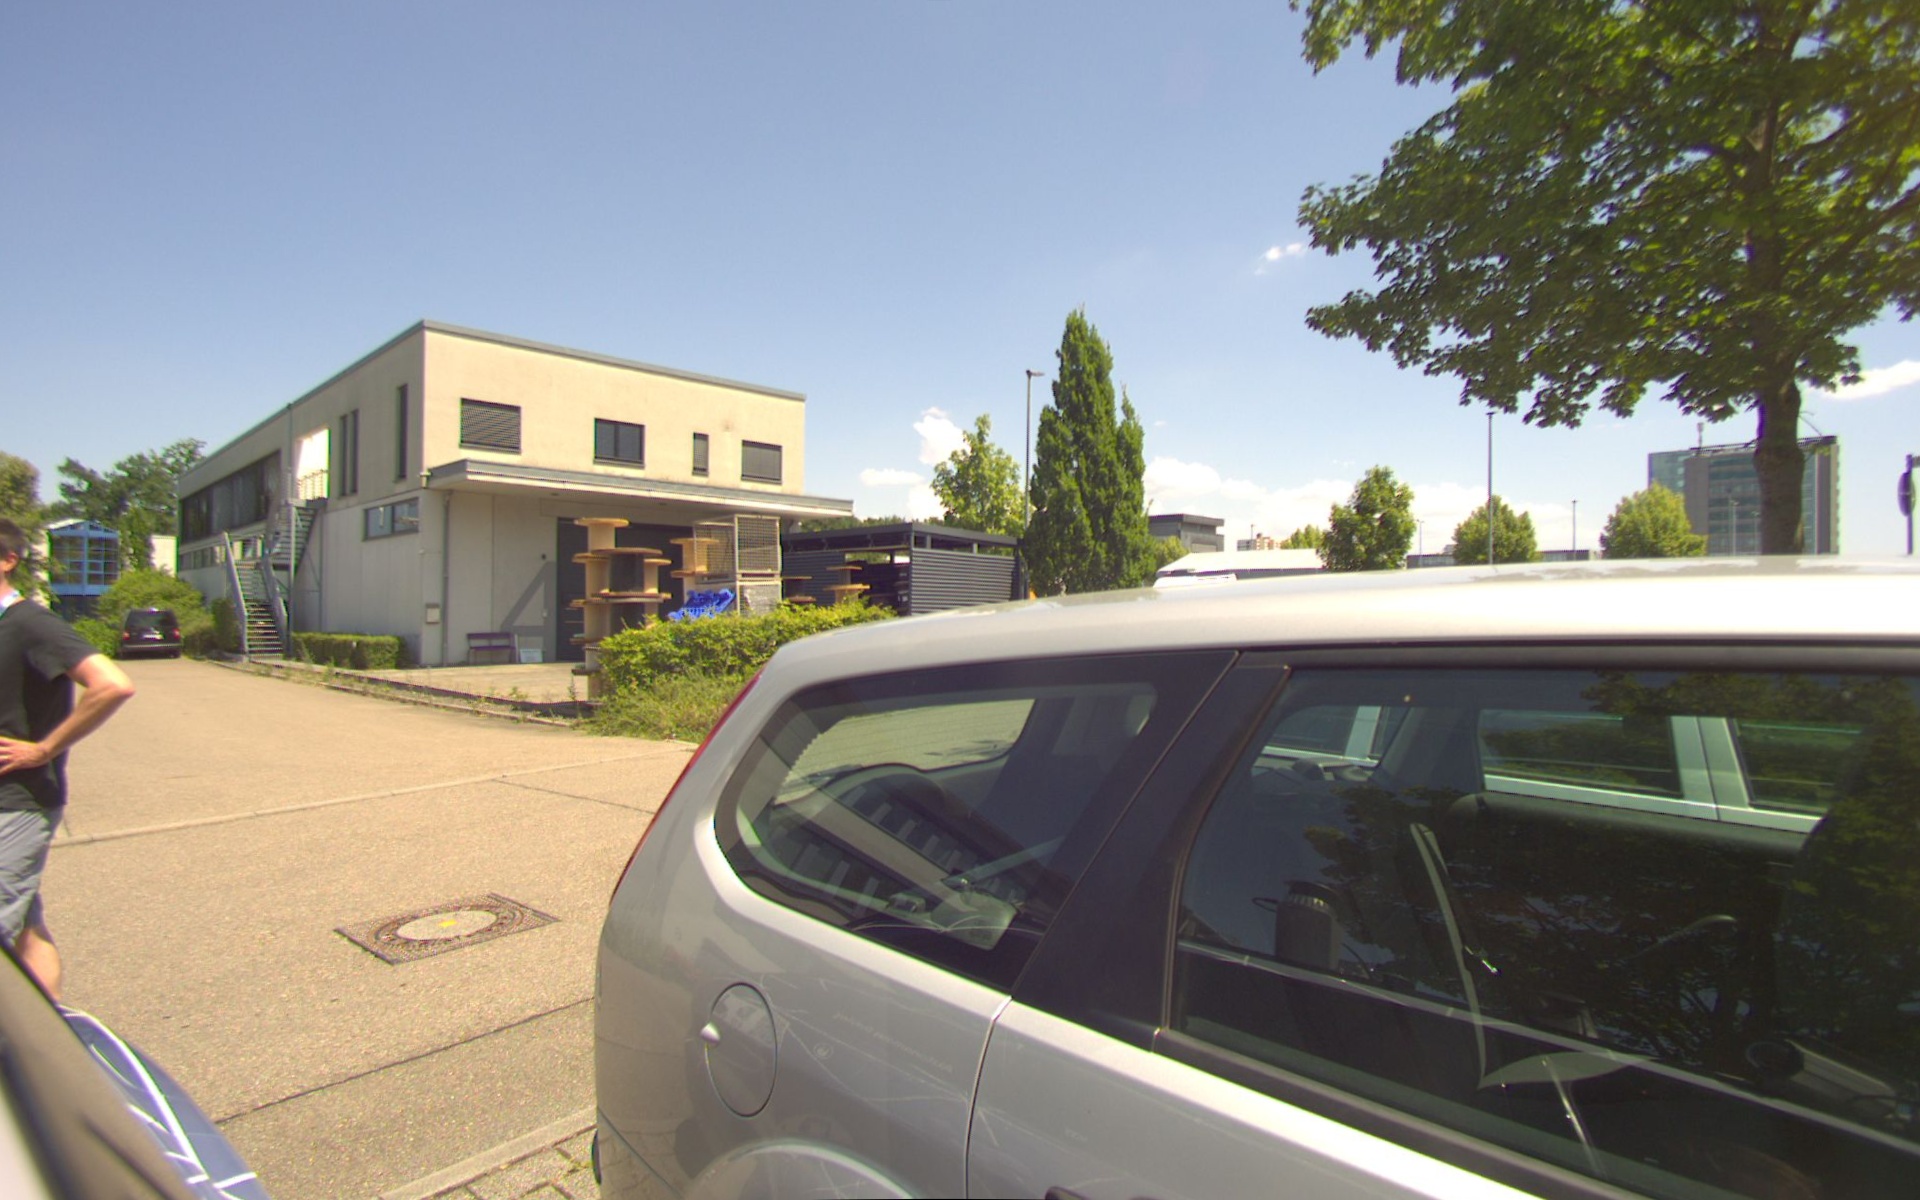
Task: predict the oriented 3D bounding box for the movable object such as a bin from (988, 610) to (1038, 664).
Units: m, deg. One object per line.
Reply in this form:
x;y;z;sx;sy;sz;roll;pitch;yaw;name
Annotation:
1.364;0.931;26.069;1.056;1.346;0.761;-1;-1;-40;movable object such as a bin

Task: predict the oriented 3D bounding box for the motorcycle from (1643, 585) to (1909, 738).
8.039;0.587;10.082;1.986;1.400;0.478;-2;-1;38;motorcycle

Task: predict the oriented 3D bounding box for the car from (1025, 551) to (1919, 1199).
2.271;0.641;3.120;3.886;1.490;1.632;-1;-1;38;car

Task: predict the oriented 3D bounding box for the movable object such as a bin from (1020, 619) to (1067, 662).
2.217;1.047;26.749;0.972;1.092;0.761;-1;-1;-40;movable object such as a bin

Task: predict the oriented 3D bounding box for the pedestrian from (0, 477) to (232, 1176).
-2.935;0.602;3.025;0.849;1.834;0.904;-1;-1;3;pedestrian

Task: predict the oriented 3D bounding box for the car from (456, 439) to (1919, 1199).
1.320;0.646;0.999;4.346;1.490;1.702;-1;-1;41;car

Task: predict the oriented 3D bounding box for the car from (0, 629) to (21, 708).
-19.066;1.271;19.209;1.686;1.402;3.816;1;-1;-41;car

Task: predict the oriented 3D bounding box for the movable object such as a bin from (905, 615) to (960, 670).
-0.655;1.010;24.347;1.056;1.280;0.761;-1;-1;-40;movable object such as a bin

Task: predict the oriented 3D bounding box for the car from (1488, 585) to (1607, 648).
17.415;0.454;29.930;3.936;1.751;1.776;-1;0;-39;car

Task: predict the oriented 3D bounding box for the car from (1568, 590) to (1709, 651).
18.609;0.532;27.717;3.932;1.533;1.658;-1;0;-31;car

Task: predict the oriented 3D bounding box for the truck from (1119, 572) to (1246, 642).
9.206;0.257;41.628;5.614;2.692;2.420;-1;-1;-45;truck

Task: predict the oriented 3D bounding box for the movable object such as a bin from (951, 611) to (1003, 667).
0.423;0.953;25.125;1.056;1.346;0.761;-1;-1;-40;movable object such as a bin

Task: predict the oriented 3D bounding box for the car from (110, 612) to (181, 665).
-30.044;1.379;37.294;1.761;1.817;4.004;-1;0;-43;car

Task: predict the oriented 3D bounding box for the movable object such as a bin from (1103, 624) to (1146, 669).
3.754;1.048;23.107;0.581;0.977;0.761;-1;-1;-40;movable object such as a bin

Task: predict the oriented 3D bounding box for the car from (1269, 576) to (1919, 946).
3.745;0.640;5.049;3.886;1.459;1.632;-1;-1;38;car
